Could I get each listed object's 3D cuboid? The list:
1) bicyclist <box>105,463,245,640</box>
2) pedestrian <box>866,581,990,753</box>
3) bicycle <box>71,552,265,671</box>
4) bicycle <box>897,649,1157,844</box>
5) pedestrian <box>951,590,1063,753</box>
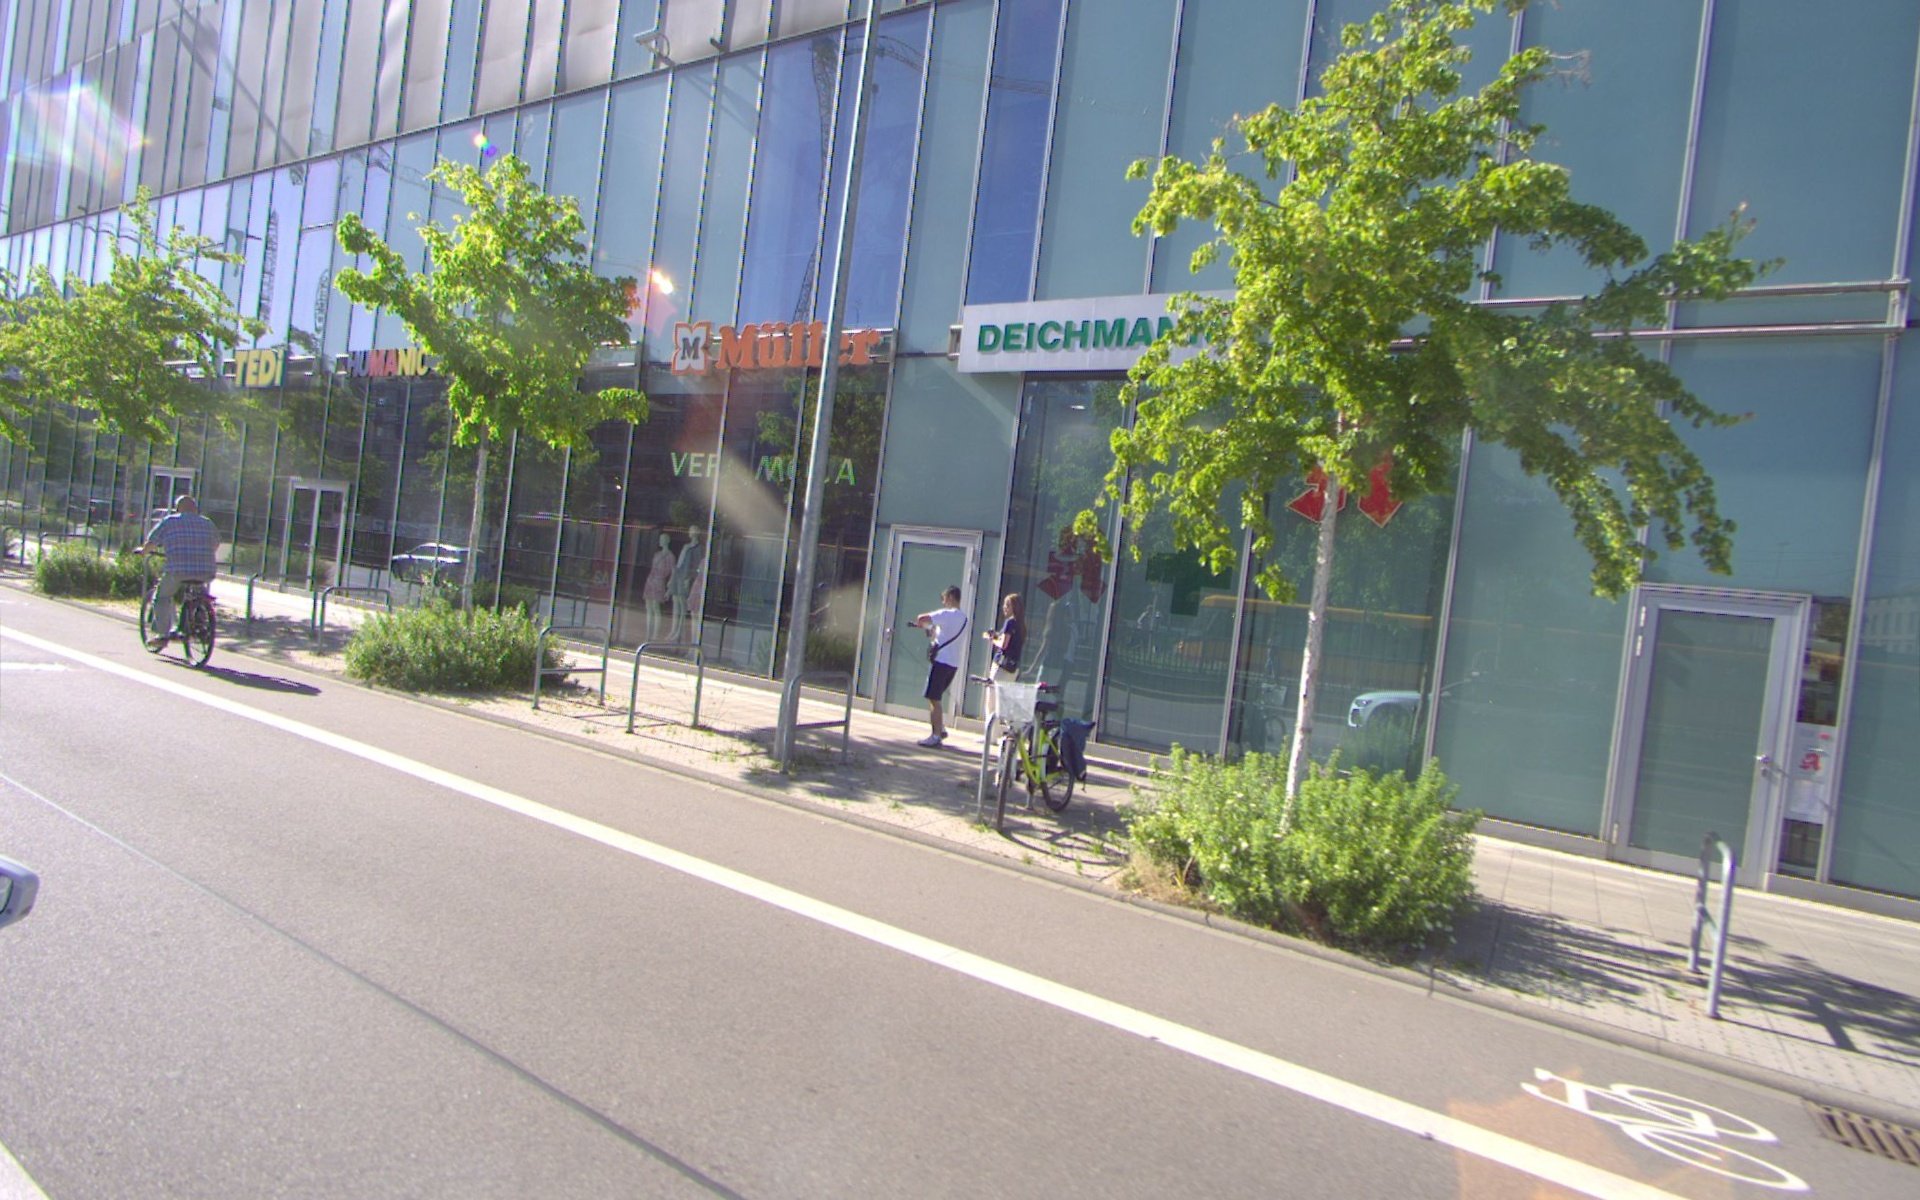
[{"bbox_3d":[-8.446,-0.516,10.830,0.980,1.758,0.726,7,1,28],"label":"bicyclist"},{"bbox_3d":[-0.333,0.697,10.794,0.884,1.680,0.822,7,2,28],"label":"pedestrian"},{"bbox_3d":[-8.583,0.113,10.873,2.293,0.995,0.730,7,0,28],"label":"bicycle"},{"bbox_3d":[0.597,1.077,7.946,0.936,1.221,2.083,7,1,38],"label":"bicycle"},{"bbox_3d":[0.536,0.783,11.369,0.884,1.680,0.707,7,3,28],"label":"pedestrian"}]
